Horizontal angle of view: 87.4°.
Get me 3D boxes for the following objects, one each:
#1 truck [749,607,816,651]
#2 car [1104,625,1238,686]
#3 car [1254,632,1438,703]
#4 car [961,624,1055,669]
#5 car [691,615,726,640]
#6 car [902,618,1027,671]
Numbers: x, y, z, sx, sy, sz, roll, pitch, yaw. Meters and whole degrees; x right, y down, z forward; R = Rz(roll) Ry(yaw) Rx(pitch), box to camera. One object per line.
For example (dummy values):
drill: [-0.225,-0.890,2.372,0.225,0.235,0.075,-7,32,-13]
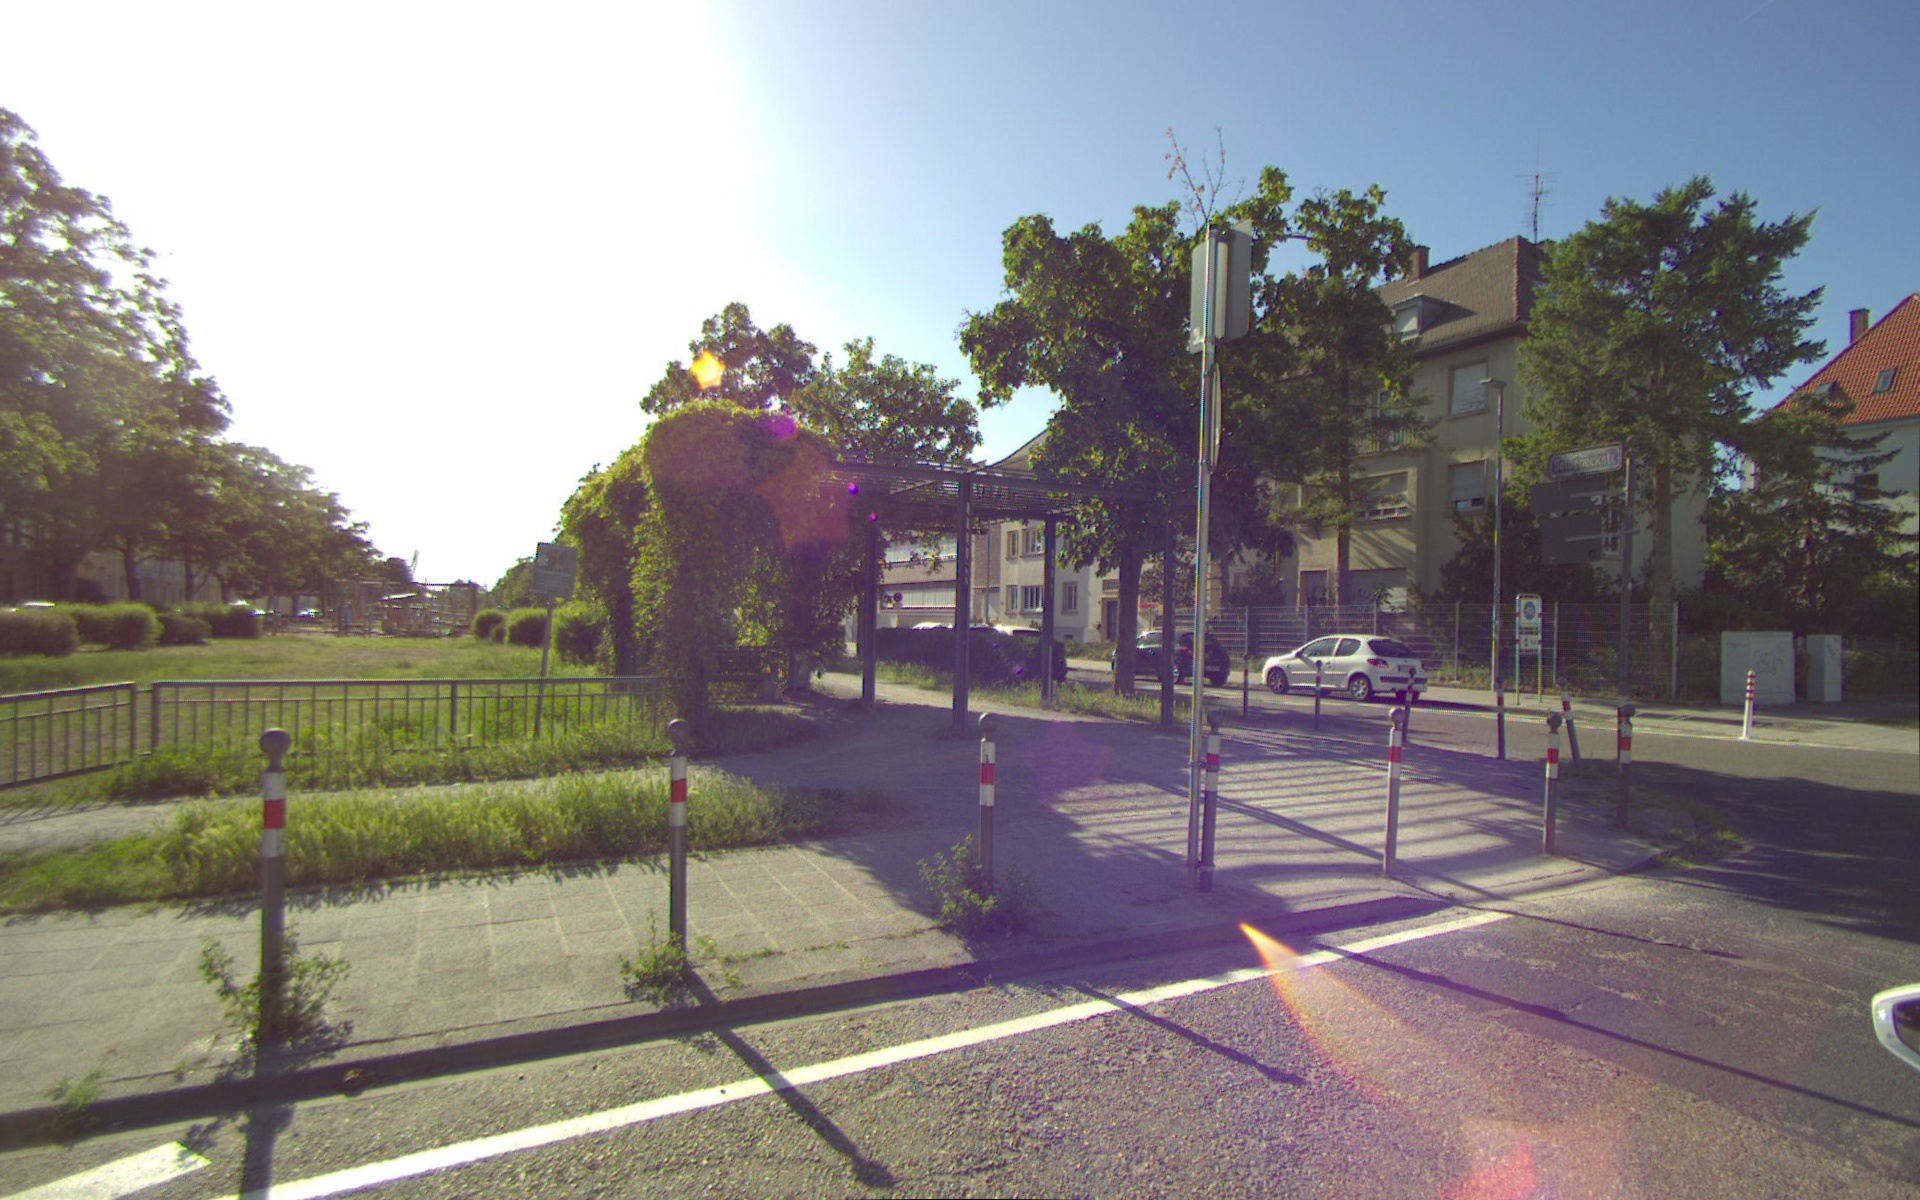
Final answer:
truck: [-8.890,1.407,50.009,1.974,2.063,4.841,1,-1,-27]
car: [5.791,1.504,28.001,1.655,1.514,3.801,3,-2,-26]
car: [8.633,1.478,22.767,1.685,1.416,3.751,3,-2,-27]
car: [1.719,1.677,37.251,1.778,1.514,3.973,3,-2,-26]
car: [-19.830,2.148,79.130,1.799,1.854,3.973,2,-2,-26]
car: [0.042,1.365,32.147,1.976,1.545,4.720,2,-1,-29]
